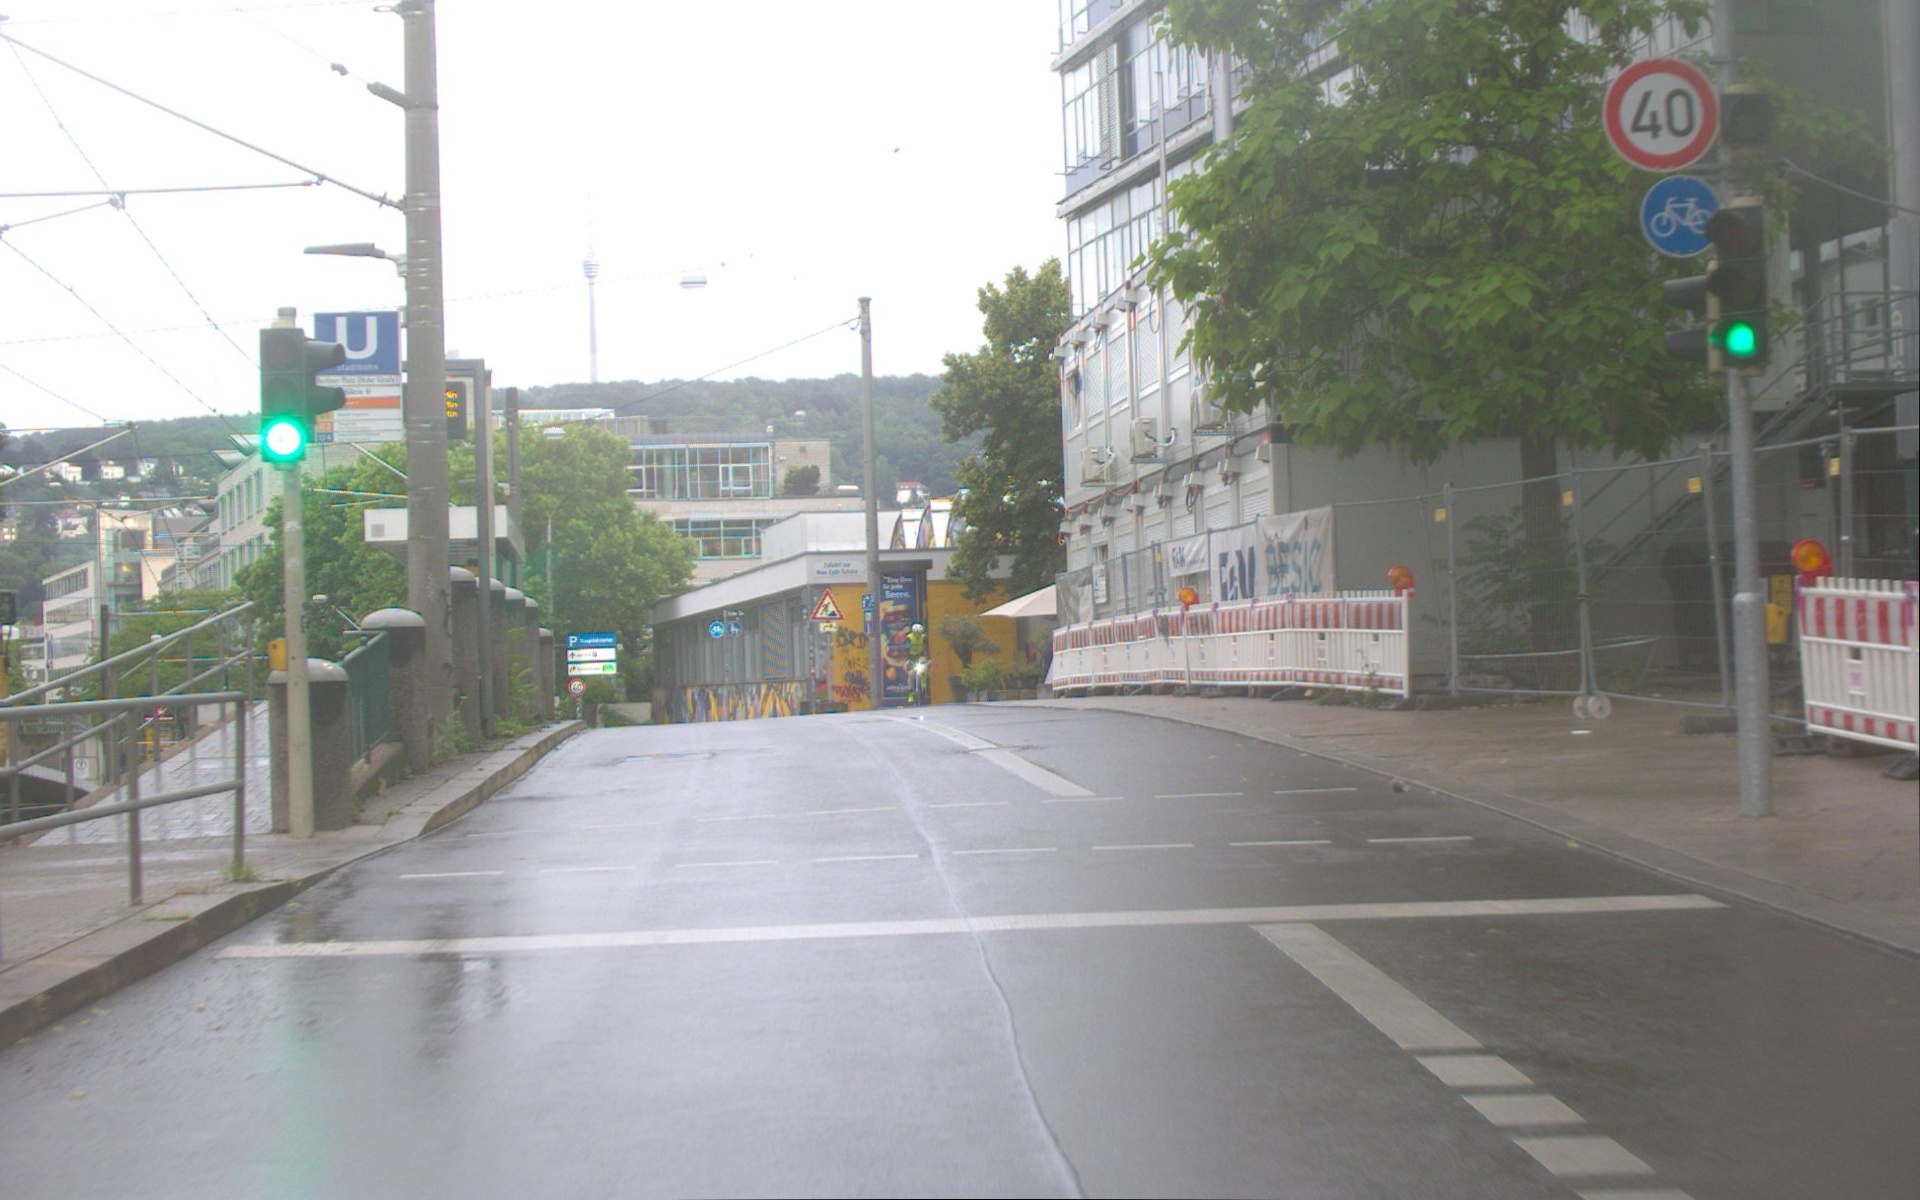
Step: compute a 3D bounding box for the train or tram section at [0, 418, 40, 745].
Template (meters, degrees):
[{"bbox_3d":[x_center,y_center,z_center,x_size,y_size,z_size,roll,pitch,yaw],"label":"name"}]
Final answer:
[{"bbox_3d":[-11.780,-0.190,30.916,2.746,3.684,18.972,-2,0,-3],"label":"train or tram section"}]
